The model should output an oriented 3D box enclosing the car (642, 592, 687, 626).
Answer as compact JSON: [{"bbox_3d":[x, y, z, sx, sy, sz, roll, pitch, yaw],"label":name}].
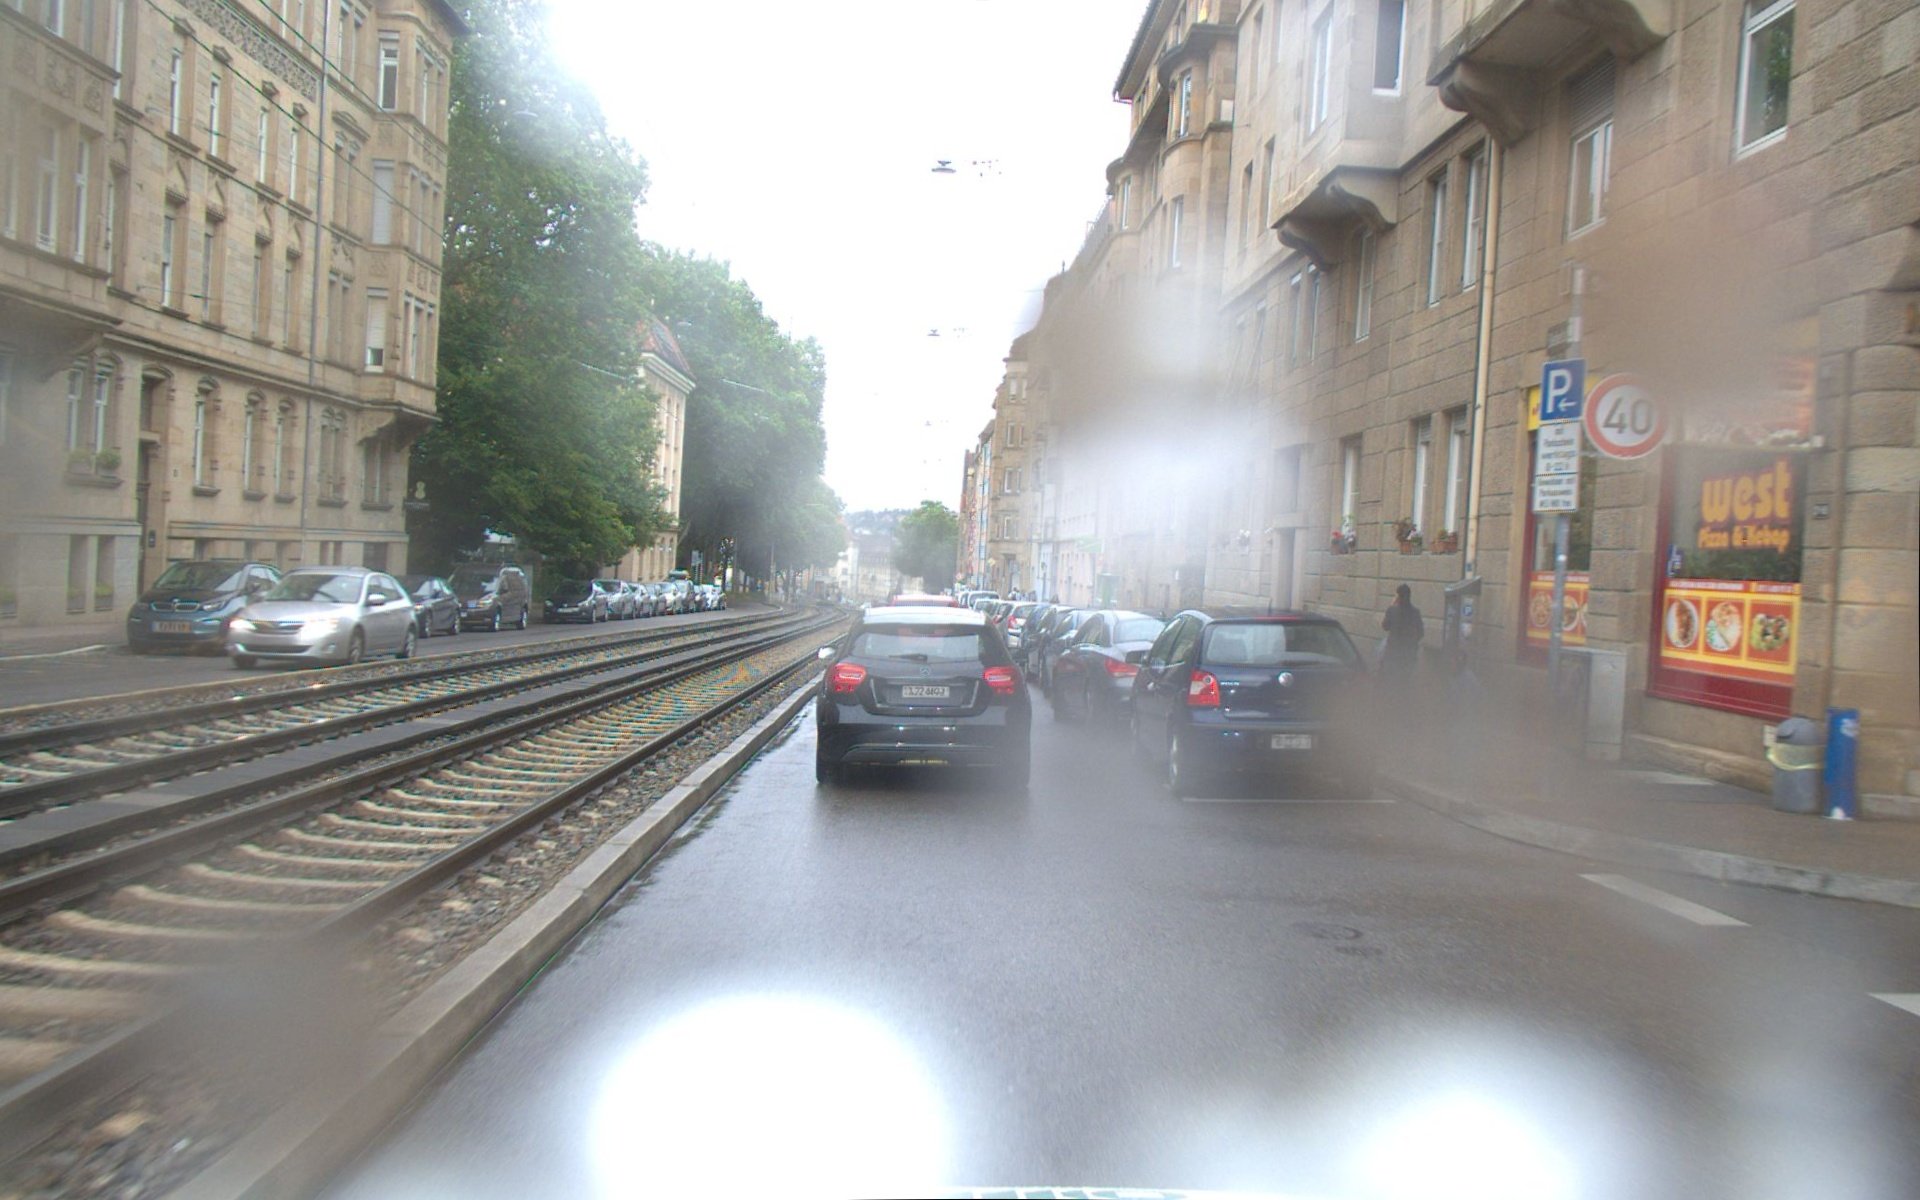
[{"bbox_3d":[-13.985,0.415,78.481,1.508,1.531,4.152,0,0,-2],"label":"car"}]

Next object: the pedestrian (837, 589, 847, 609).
[{"bbox_3d":[-9.715,-0.086,136.095,0.789,1.662,0.892,1,0,-1],"label":"pedestrian"}]

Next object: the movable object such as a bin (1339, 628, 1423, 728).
[{"bbox_3d":[5.039,0.917,19.861,0.651,1.122,1.123,2,0,-2],"label":"movable object such as a bin"}]

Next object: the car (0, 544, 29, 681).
[{"bbox_3d":[-12.530,0.137,18.578,1.821,1.681,4.313,1,0,-3],"label":"car"}]

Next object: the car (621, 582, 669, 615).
[{"bbox_3d":[-14.020,-0.086,73.804,1.508,1.438,3.951,0,0,-2],"label":"car"}]

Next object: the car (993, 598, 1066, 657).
[{"bbox_3d":[1.821,0.713,44.296,1.559,1.459,3.681,1,0,-4],"label":"car"}]

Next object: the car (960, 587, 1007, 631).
[{"bbox_3d":[0.968,0.364,70.415,1.755,1.796,4.210,1,0,-2],"label":"car"}]

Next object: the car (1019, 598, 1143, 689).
[{"bbox_3d":[2.153,0.743,30.409,1.752,1.488,4.081,2,0,-3],"label":"car"}]

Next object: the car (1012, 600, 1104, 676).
[{"bbox_3d":[2.014,0.758,34.740,1.513,1.439,3.444,2,0,-3],"label":"car"}]

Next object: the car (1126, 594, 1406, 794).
[{"bbox_3d":[2.475,0.695,14.225,1.637,1.469,3.789,0,0,-1],"label":"car"}]

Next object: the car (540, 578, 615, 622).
[{"bbox_3d":[-13.511,0.005,58.601,1.812,1.489,4.547,0,0,-3],"label":"car"}]

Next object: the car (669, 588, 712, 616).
[{"bbox_3d":[-14.515,0.098,89.169,1.640,1.438,4.009,0,0,0],"label":"car"}]

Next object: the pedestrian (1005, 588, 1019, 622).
[{"bbox_3d":[2.833,0.272,90.801,0.730,1.866,1.039,0,0,0],"label":"pedestrian"}]

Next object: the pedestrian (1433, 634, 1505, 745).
[{"bbox_3d":[5.149,0.897,16.758,0.500,1.068,0.626,2,0,-2],"label":"pedestrian"}]

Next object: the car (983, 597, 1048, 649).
[{"bbox_3d":[1.620,0.657,49.625,1.634,1.459,3.954,1,0,-3],"label":"car"}]

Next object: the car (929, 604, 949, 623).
[{"bbox_3d":[-1.903,1.240,151.224,1.790,1.646,3.863,1,0,-1],"label":"car"}]

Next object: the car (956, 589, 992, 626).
[{"bbox_3d":[0.708,0.364,85.450,1.791,1.781,4.467,2,0,0],"label":"car"}]

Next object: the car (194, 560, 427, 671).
[{"bbox_3d":[-9.643,0.213,24.944,1.942,1.482,4.292,1,0,-3],"label":"car"}]

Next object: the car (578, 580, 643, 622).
[{"bbox_3d":[-13.563,0.032,64.439,1.719,1.563,4.541,0,0,-2],"label":"car"}]

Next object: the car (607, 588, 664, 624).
[{"bbox_3d":[-13.596,0.228,69.514,1.719,1.438,4.152,0,0,-2],"label":"car"}]

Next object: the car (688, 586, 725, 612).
[{"bbox_3d":[-14.383,-0.065,94.007,1.469,1.415,3.987,0,0,0],"label":"car"}]

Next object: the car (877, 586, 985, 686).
[{"bbox_3d":[-0.522,0.596,29.631,1.749,1.608,3.999,2,0,-1],"label":"car"}]

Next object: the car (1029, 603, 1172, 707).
[{"bbox_3d":[2.122,0.802,25.952,1.673,1.422,4.016,2,0,-3],"label":"car"}]

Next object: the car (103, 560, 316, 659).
[{"bbox_3d":[-12.841,0.151,28.610,1.833,1.534,4.168,2,0,-2],"label":"car"}]

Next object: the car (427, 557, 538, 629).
[{"bbox_3d":[-13.157,-0.191,45.859,1.764,1.879,4.817,1,0,-2],"label":"car"}]

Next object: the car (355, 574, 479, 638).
[{"bbox_3d":[-12.975,0.131,39.764,1.727,1.422,4.268,1,0,-3],"label":"car"}]

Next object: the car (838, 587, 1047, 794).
[{"bbox_3d":[-0.191,0.689,14.442,1.548,1.531,3.573,2,0,-2],"label":"car"}]

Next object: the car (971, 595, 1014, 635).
[{"bbox_3d":[1.281,0.582,66.187,1.538,1.487,3.599,2,0,-1],"label":"car"}]

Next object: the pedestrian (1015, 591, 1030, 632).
[{"bbox_3d":[2.761,0.524,72.976,0.595,1.794,0.688,0,0,-2],"label":"pedestrian"}]

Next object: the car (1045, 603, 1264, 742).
[{"bbox_3d":[2.159,0.770,19.583,1.720,1.411,4.481,0,0,-5],"label":"car"}]

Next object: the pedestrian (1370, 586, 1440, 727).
[{"bbox_3d":[5.080,0.631,18.924,0.550,1.562,0.710,2,0,-2],"label":"pedestrian"}]

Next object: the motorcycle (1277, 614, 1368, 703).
[{"bbox_3d":[5.455,0.847,25.061,0.691,1.219,2.745,2,0,-1],"label":"motorcycle"}]
